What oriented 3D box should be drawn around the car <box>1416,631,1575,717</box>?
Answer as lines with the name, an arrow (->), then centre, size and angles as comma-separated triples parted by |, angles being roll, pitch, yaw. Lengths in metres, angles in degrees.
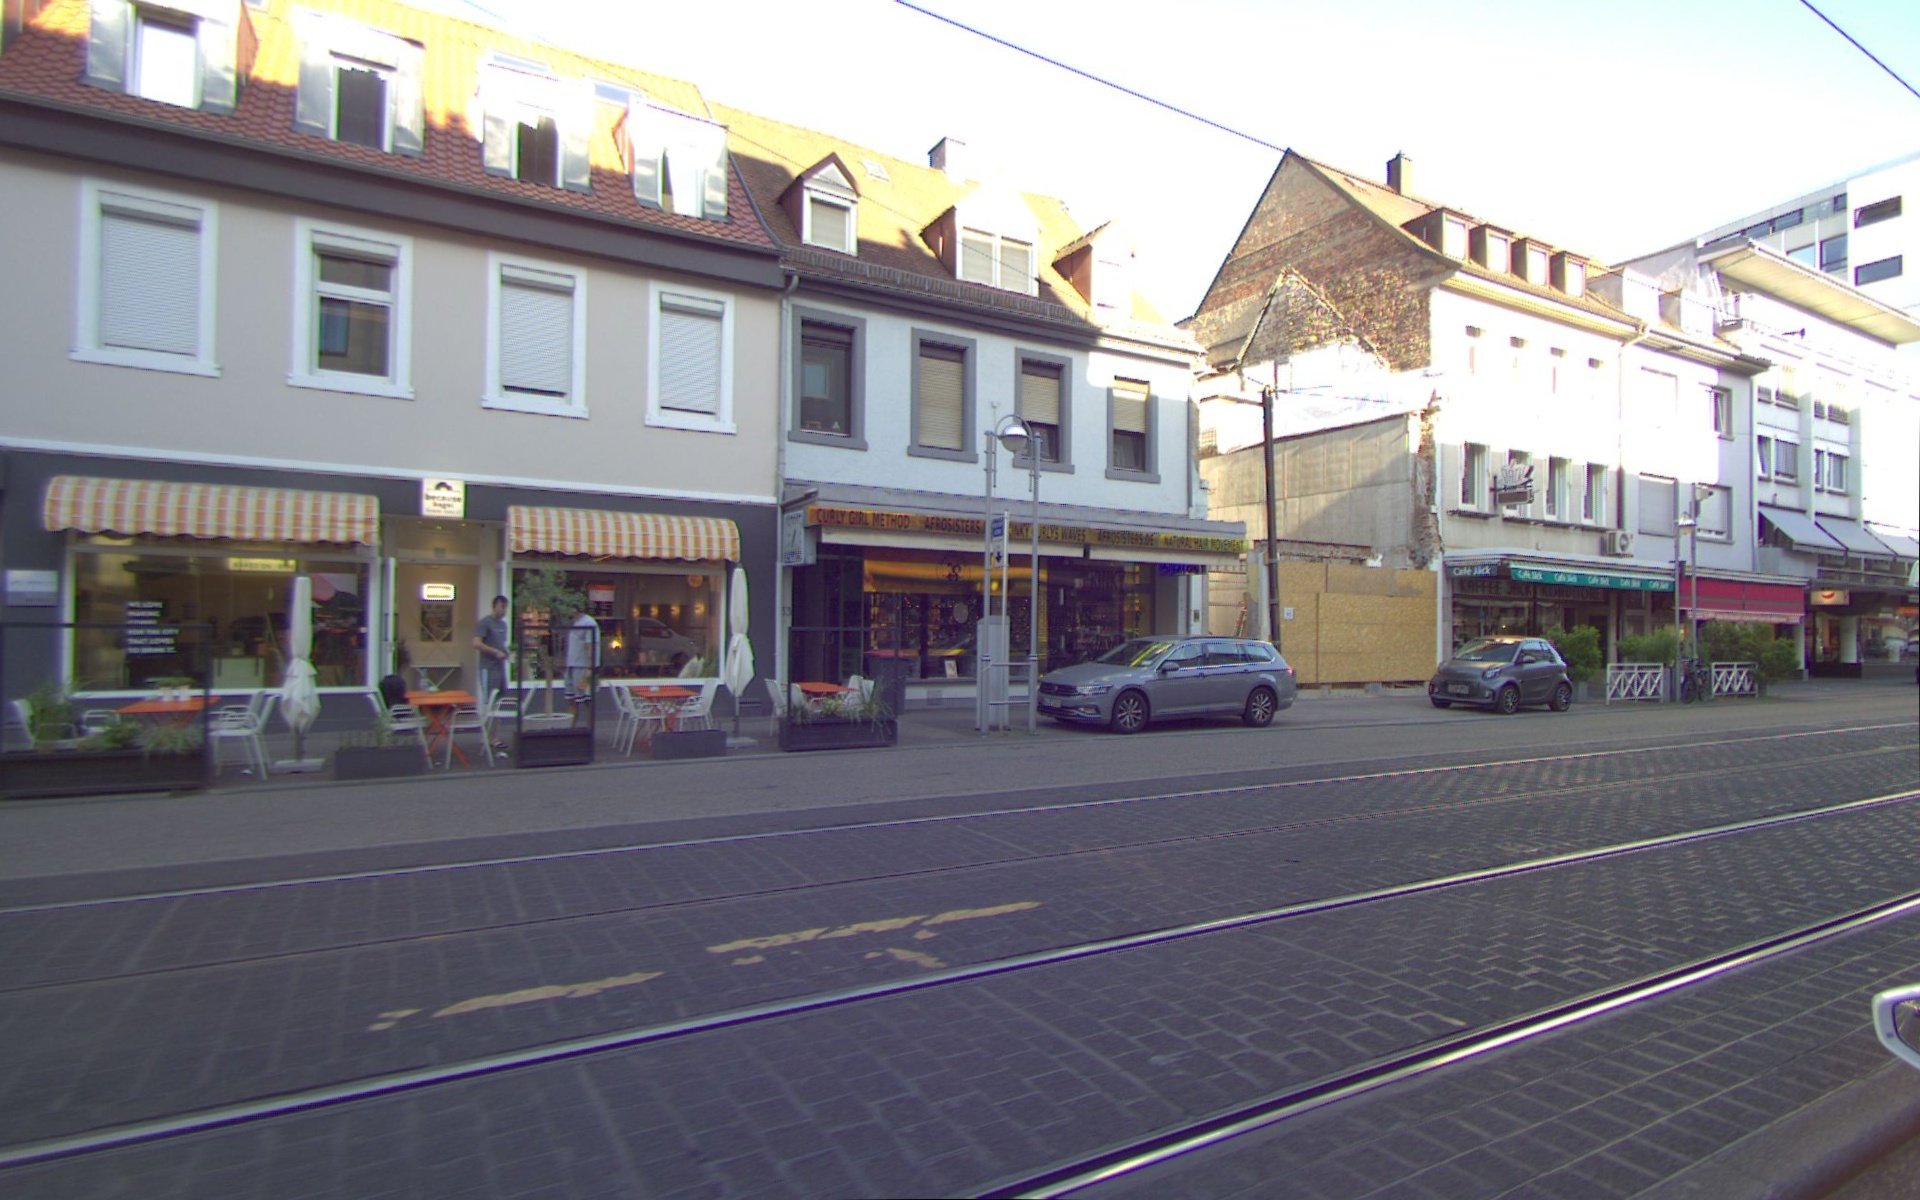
car -> 11.231, 1.504, 21.077 | 2.857, 1.625, 1.689 | 2, -1, -30

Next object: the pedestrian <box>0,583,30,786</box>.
pedestrian -> -8.952, 0.751, 9.022 | 0.648, 1.830, 0.579 | 2, 0, -18

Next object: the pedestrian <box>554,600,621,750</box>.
pedestrian -> -4.635, 0.910, 12.482 | 0.576, 1.785, 0.651 | 2, 0, -38

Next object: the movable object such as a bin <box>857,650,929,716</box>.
movable object such as a bin -> -1.152, 1.401, 17.210 | 1.018, 1.077, 0.697 | 1, -2, -30

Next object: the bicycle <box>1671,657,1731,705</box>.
bicycle -> 17.995, 1.957, 24.392 | 1.696, 1.105, 0.516 | 2, 0, -30

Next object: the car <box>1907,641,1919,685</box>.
car -> 35.954, 2.283, 35.907 | 4.794, 1.544, 1.729 | 2, 0, -30

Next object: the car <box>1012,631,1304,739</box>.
car -> 3.310, 1.311, 16.492 | 4.707, 1.534, 1.808 | 2, -2, -30

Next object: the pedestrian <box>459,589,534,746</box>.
pedestrian -> -5.727, 0.817, 12.427 | 0.570, 1.874, 0.658 | 2, 0, 0
